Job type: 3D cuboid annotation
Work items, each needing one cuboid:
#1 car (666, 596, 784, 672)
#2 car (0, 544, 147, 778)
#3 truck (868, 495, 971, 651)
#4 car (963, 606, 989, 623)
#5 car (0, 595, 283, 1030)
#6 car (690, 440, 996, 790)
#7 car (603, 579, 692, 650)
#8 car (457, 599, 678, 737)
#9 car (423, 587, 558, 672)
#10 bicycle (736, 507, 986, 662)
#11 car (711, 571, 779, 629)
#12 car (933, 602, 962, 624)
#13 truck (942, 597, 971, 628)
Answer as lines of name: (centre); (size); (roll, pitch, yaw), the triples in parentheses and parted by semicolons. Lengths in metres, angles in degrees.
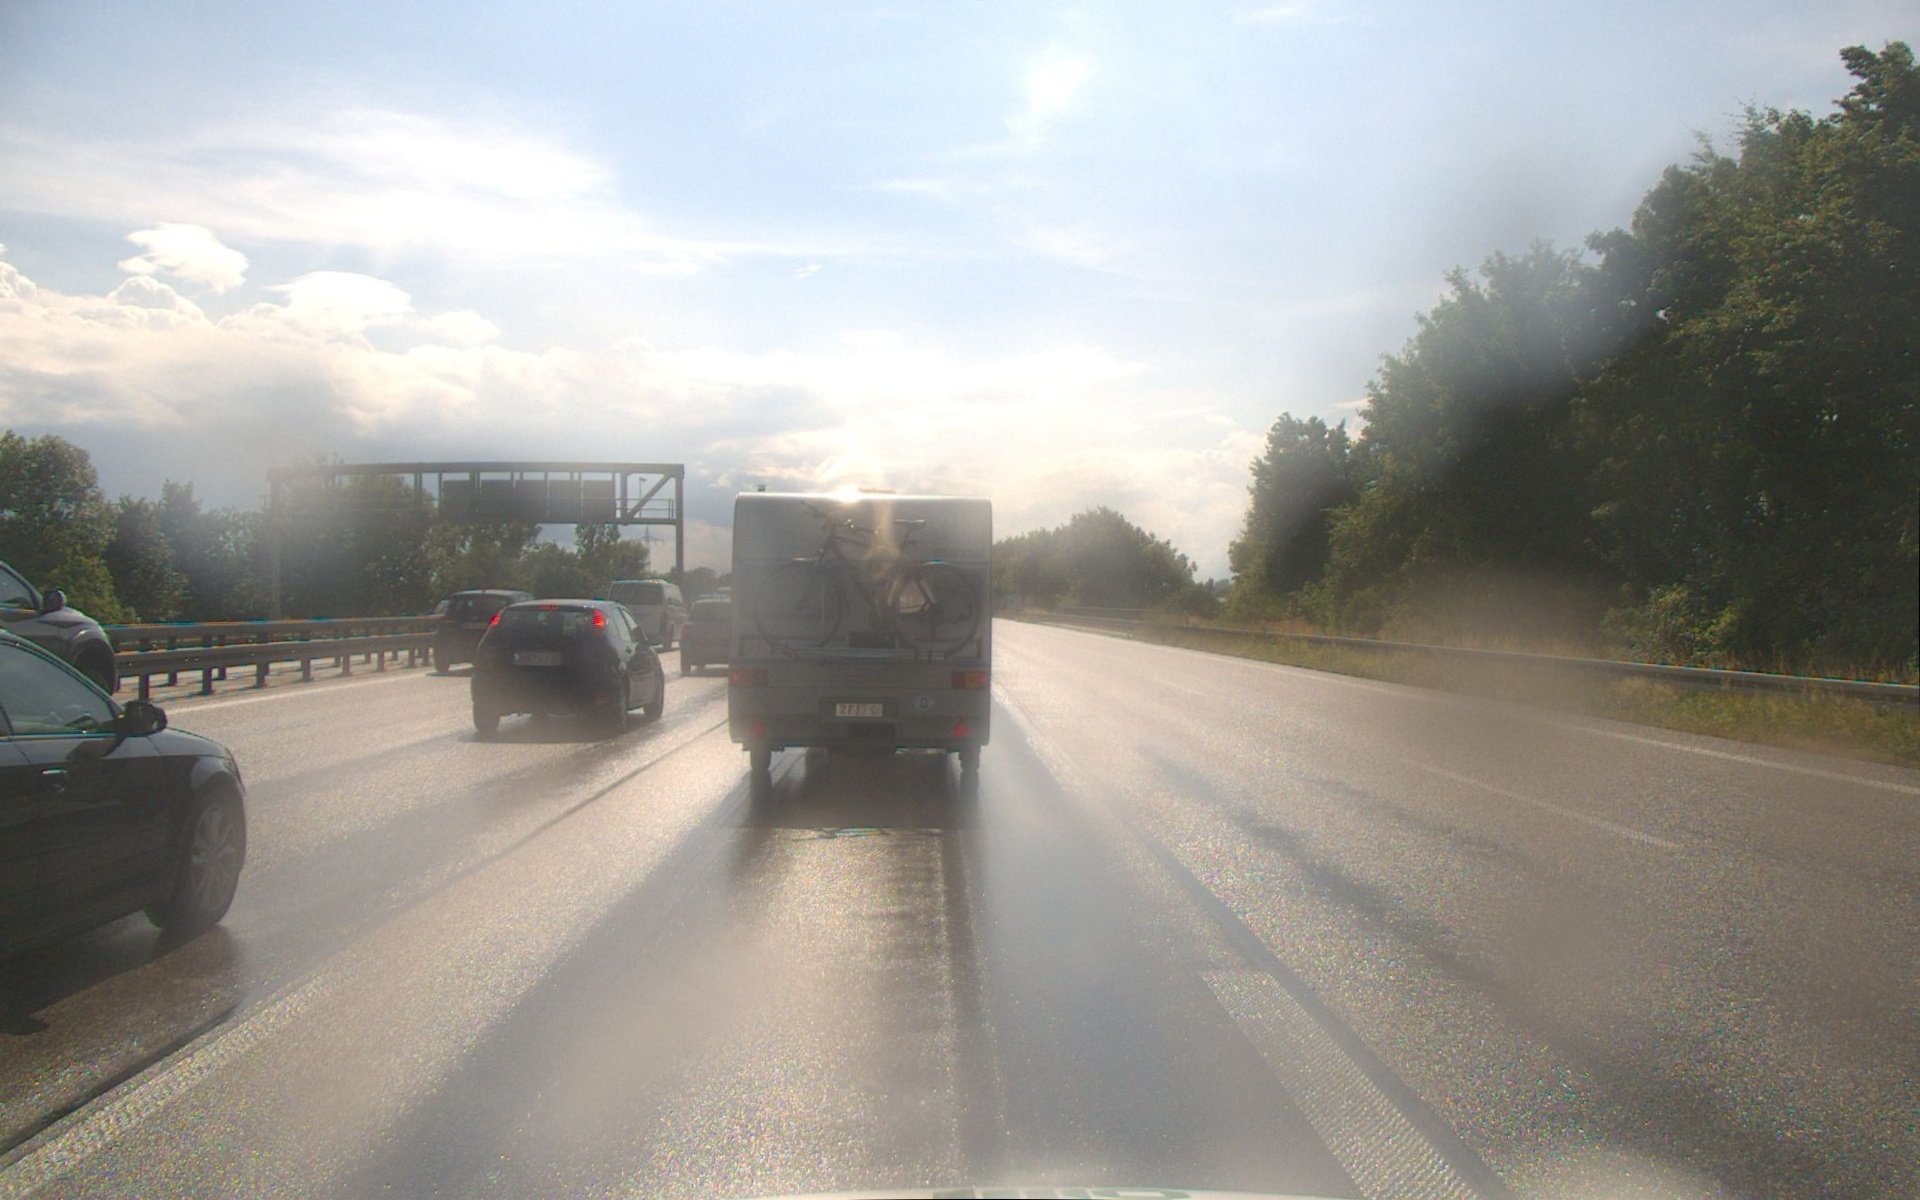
car: (-4.860, 0.671, 34.669); (1.947, 1.483, 3.826); (1, 0, -1)
car: (-8.599, 0.482, 12.897); (1.769, 1.876, 5.418); (1, 0, 1)
truck: (-1.436, -0.799, 55.305); (3.083, 4.707, 10.730); (0, 0, -2)
car: (1.411, 1.269, 146.422); (1.840, 1.521, 3.995); (1, 0, -5)
car: (-4.098, 0.712, 5.946); (1.715, 1.458, 4.053); (1, 0, -1)
car: (-0.938, 0.134, 15.038); (2.361, 2.721, 3.999); (1, 0, -1)
car: (-9.125, 0.395, 48.625); (1.810, 1.967, 5.014); (1, 0, -2)
car: (-4.575, 0.735, 19.868); (1.723, 1.468, 3.999); (1, 0, -1)
car: (-9.405, 0.569, 33.444); (1.747, 1.606, 3.914); (1, 0, -3)
bicycle: (-0.754, -0.118, 12.844); (1.894, 1.161, 0.384); (1, -1, 0)
car: (-6.467, 0.008, 49.969); (1.655, 1.691, 3.639); (0, 0, -2)
car: (-0.913, 0.928, 118.821); (1.800, 1.585, 3.996); (1, 0, -5)
truck: (-0.304, 1.044, 136.952); (2.366, 2.486, 6.052); (1, 0, -1)
